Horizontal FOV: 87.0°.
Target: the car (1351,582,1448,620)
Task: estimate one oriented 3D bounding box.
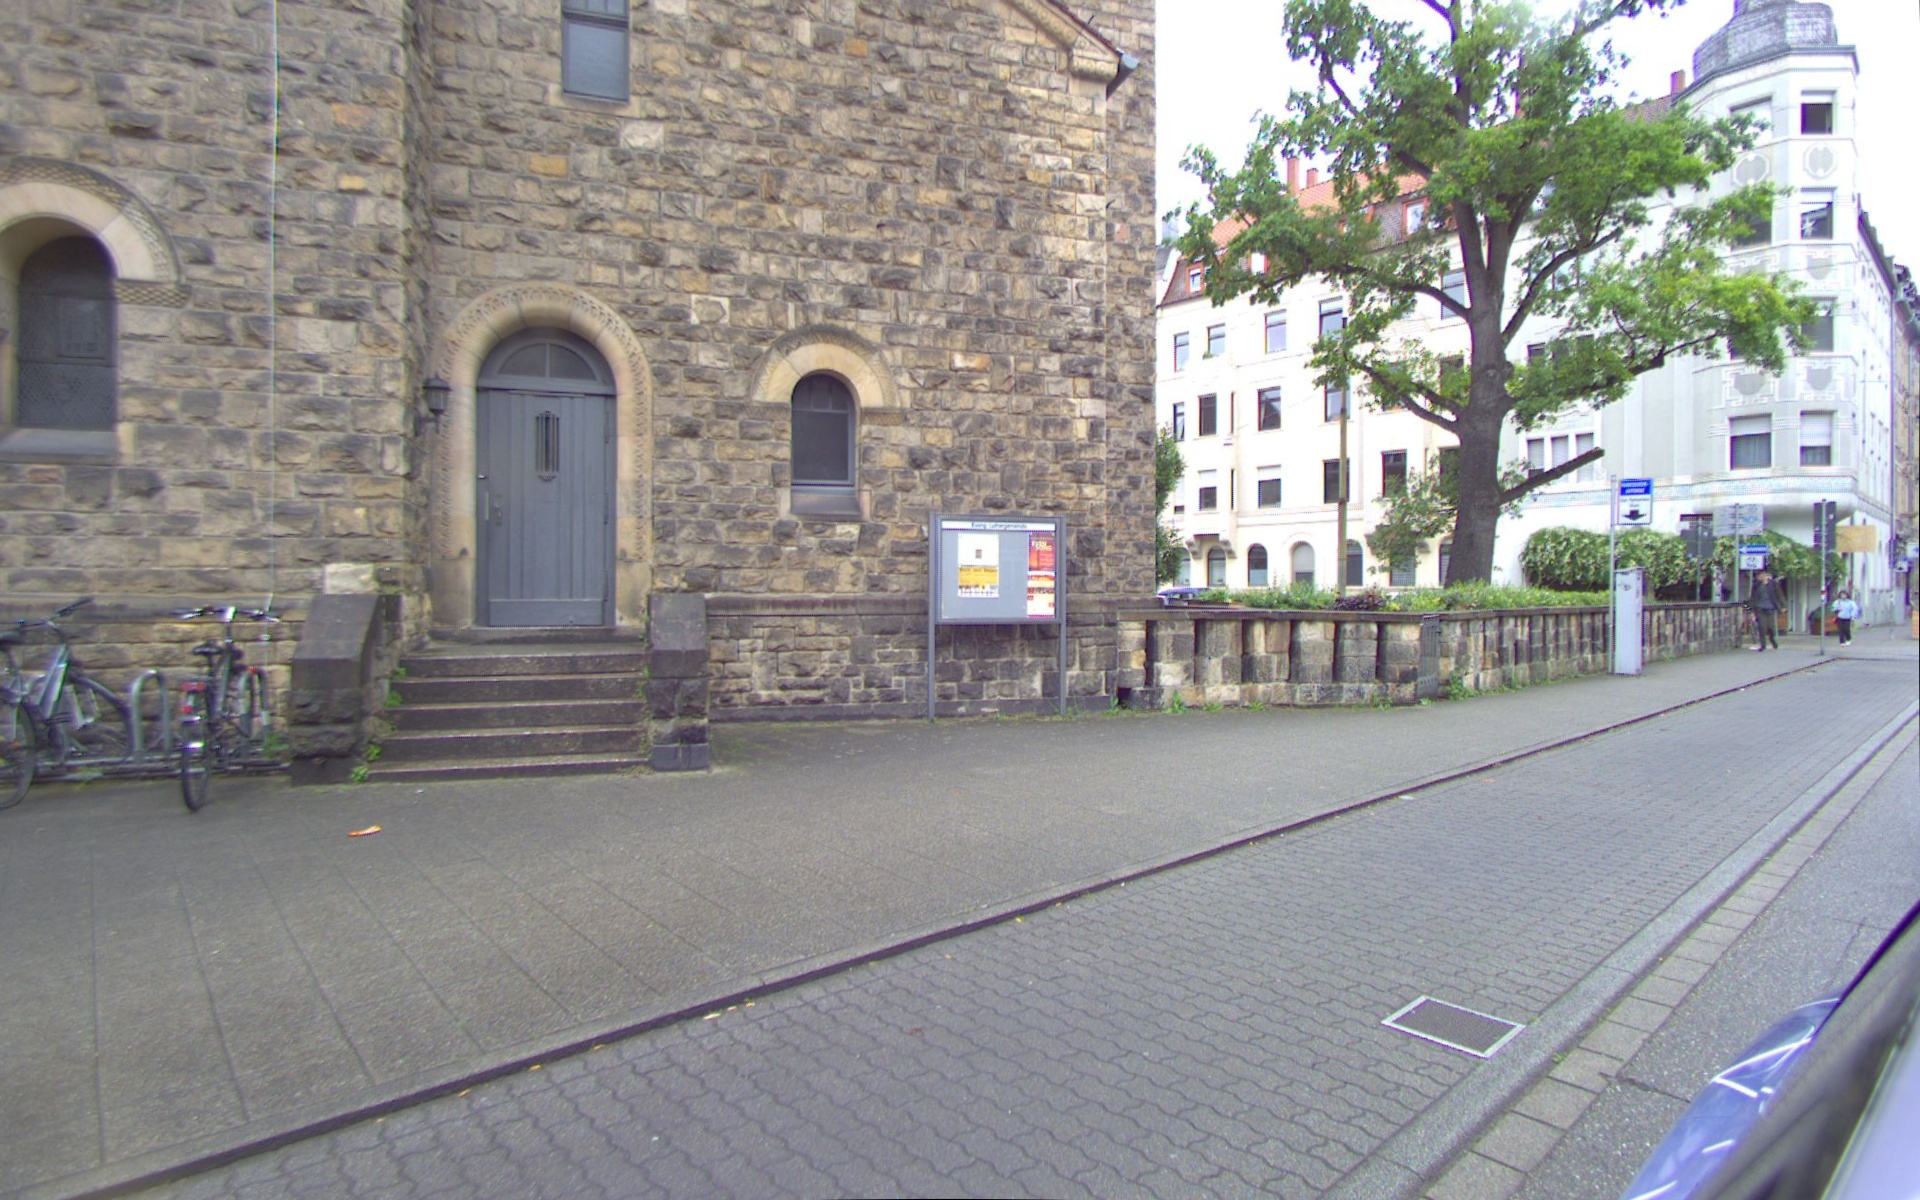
[{"bbox_3d":[17.413,0.004,40.182,1.421,1.427,3.271,0,1,-38],"label":"car"}]

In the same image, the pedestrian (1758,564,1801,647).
[{"bbox_3d":[18.895,0.115,23.328,0.681,1.896,0.645,0,1,-42],"label":"pedestrian"}]

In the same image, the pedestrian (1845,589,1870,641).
[{"bbox_3d":[25.791,0.430,29.073,0.385,1.479,0.481,0,1,-42],"label":"pedestrian"}]

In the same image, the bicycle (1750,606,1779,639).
[{"bbox_3d":[24.903,0.683,31.307,1.990,0.904,0.390,-3,3,-42],"label":"bicycle"}]

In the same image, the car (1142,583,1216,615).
[{"bbox_3d":[10.319,-0.060,47.779,1.421,1.427,3.271,0,1,-38],"label":"car"}]

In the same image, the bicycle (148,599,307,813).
[{"bbox_3d":[-4.612,0.576,6.484,0.502,1.067,1.994,0,3,-27],"label":"bicycle"}]

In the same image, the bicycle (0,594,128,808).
[{"bbox_3d":[-5.828,0.562,6.353,0.550,1.125,1.717,0,3,-27],"label":"bicycle"}]
